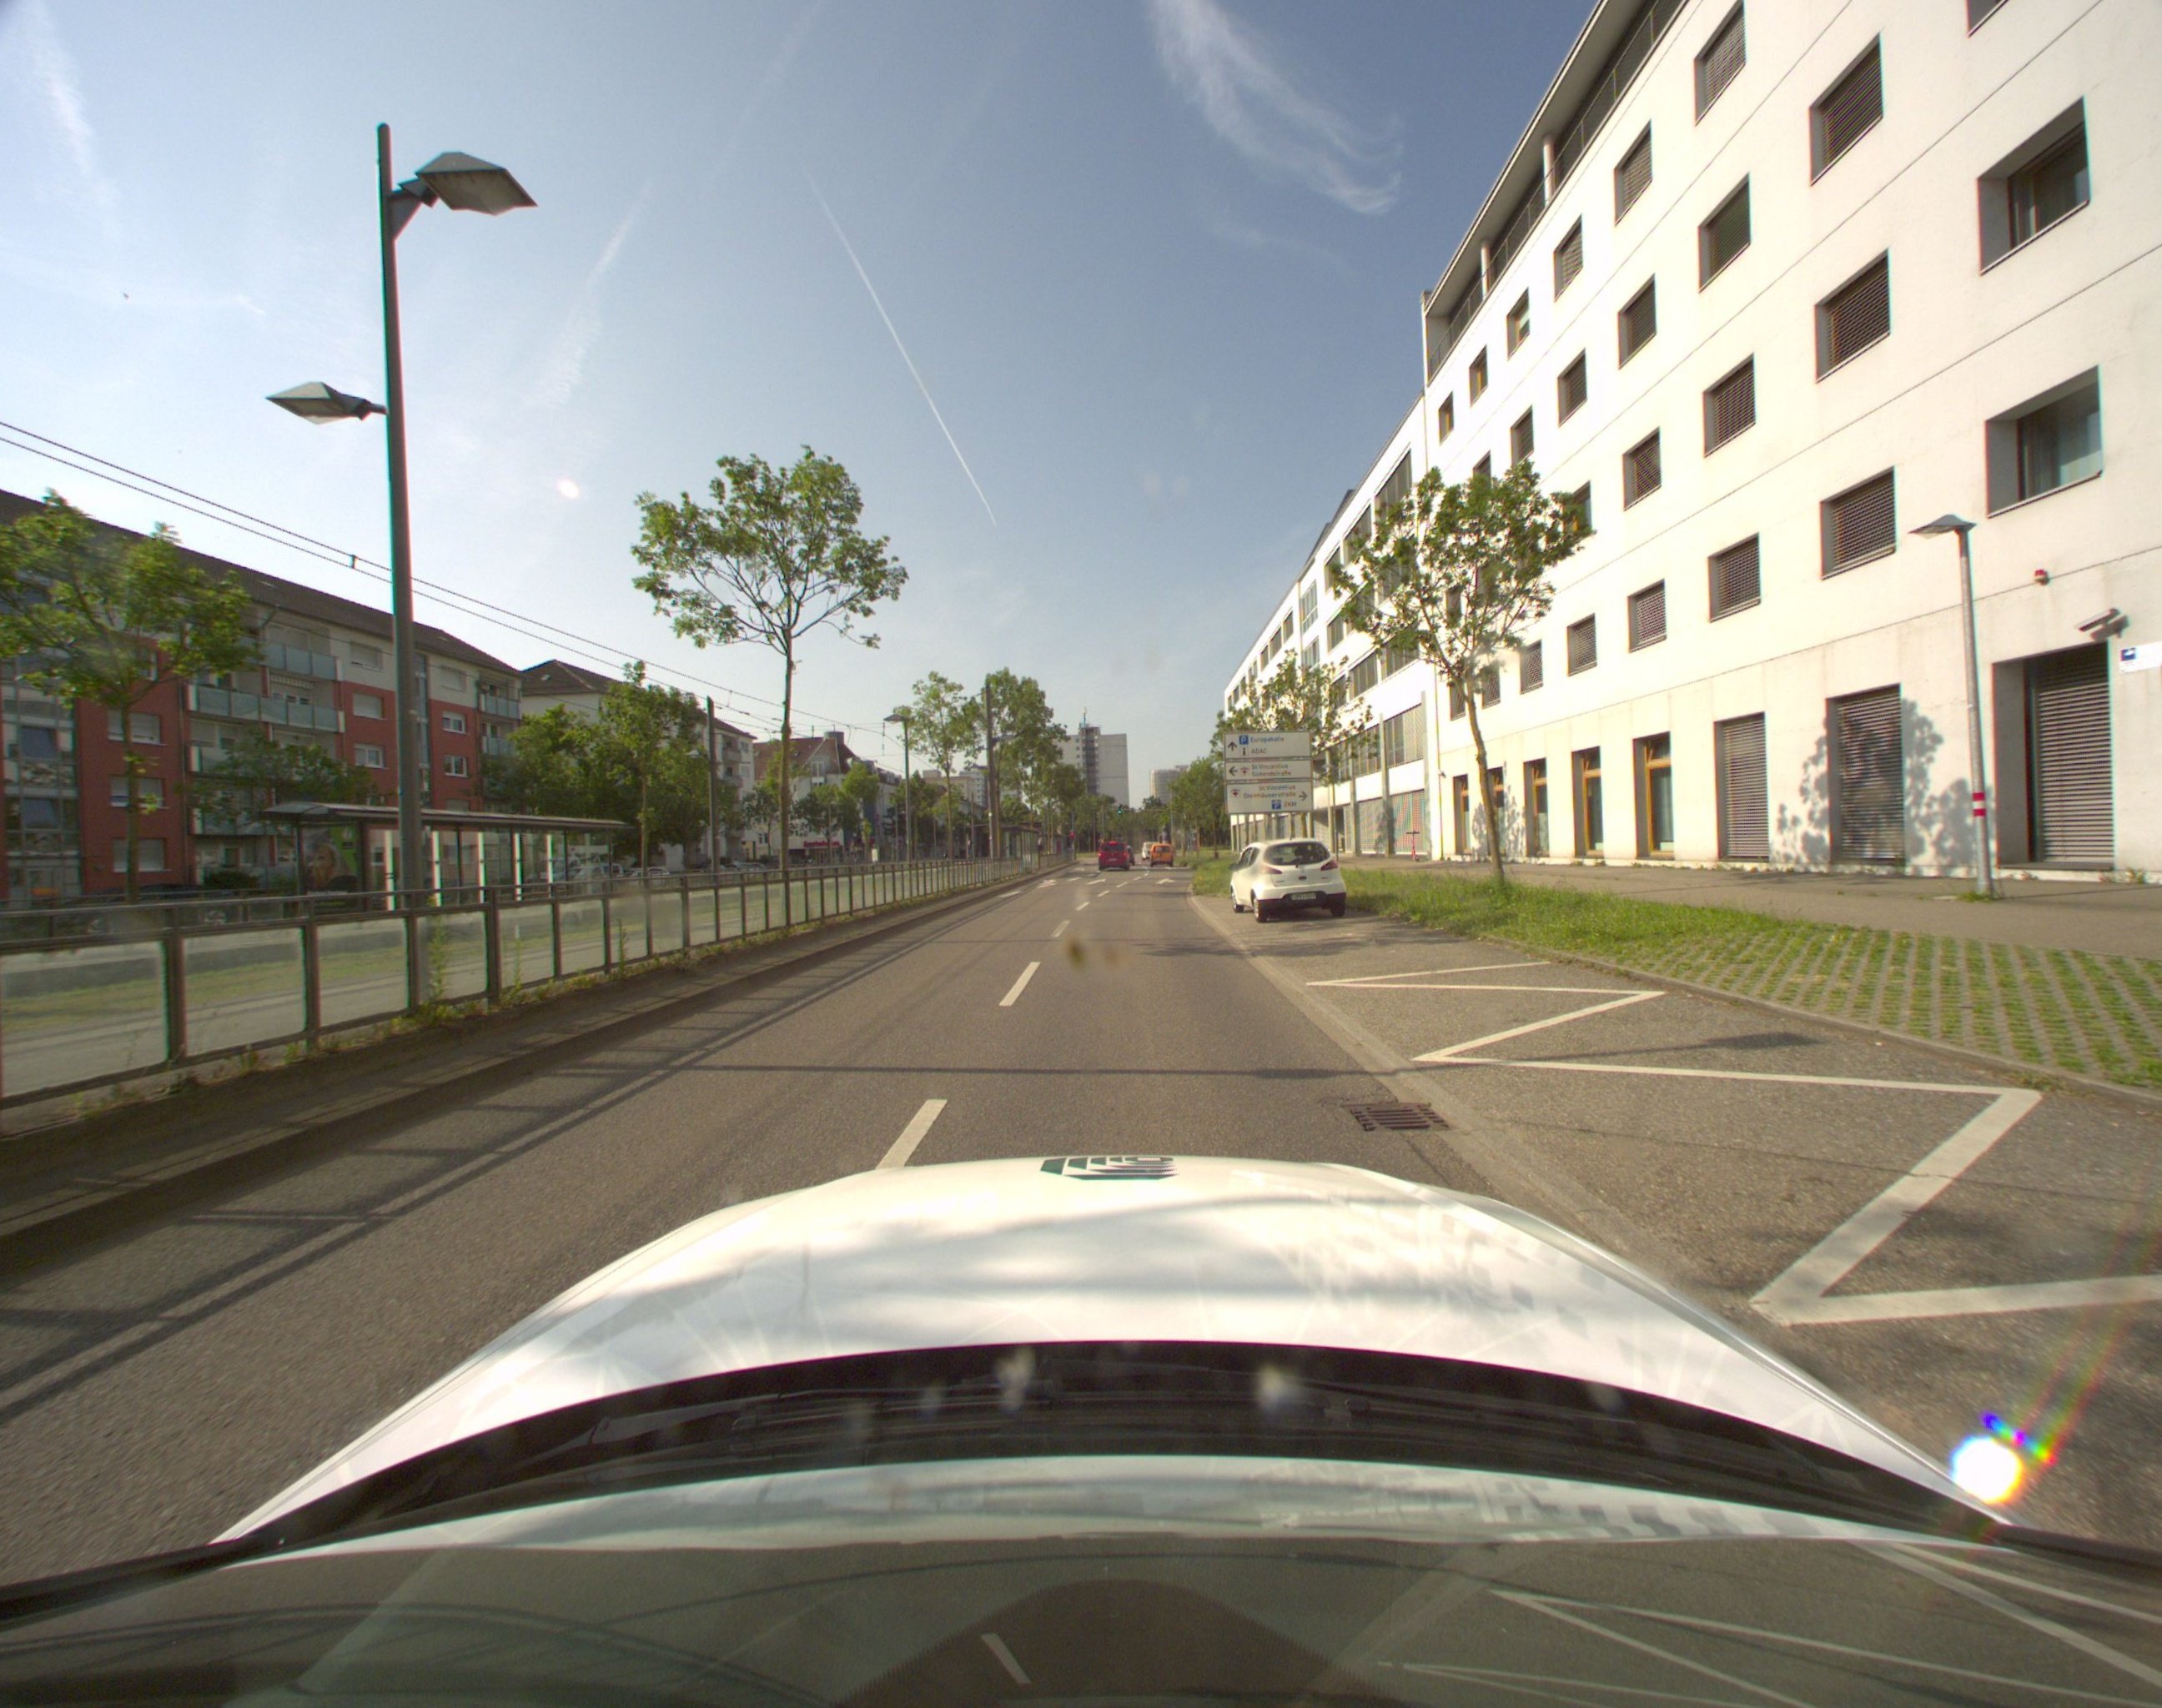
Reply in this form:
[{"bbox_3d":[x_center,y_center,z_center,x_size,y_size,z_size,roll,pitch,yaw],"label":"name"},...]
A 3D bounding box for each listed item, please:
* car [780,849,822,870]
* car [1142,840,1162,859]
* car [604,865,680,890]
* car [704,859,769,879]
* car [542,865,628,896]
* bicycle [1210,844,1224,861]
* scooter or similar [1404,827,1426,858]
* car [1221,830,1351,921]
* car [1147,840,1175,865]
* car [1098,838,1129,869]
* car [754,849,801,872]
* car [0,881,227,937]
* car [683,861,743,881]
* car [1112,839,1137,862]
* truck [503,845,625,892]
[{"bbox_3d":[-28.840,0.556,84.025,2.357,2.030,5.314,-1,0,2],"label":"car"},{"bbox_3d":[7.641,-0.473,88.215,1.985,2.013,4.003,-1,0,3],"label":"car"},{"bbox_3d":[-26.842,1.397,50.007,1.973,1.379,4.686,-1,0,2],"label":"car"},{"bbox_3d":[-24.764,1.071,58.557,3.955,1.244,1.948,-2,0,18],"label":"car"},{"bbox_3d":[-27.010,1.428,44.528,1.973,1.513,4.283,-1,0,2],"label":"car"},{"bbox_3d":[8.646,-0.116,51.874,0.615,1.017,1.881,-2,0,2],"label":"bicycle"},{"bbox_3d":[13.407,-0.475,32.739,0.460,1.213,1.258,-4,1,9],"label":"scooter or similar"},{"bbox_3d":[4.039,0.371,16.653,1.682,1.526,3.852,-4,0,2],"label":"car"},{"bbox_3d":[5.928,-0.139,60.847,1.868,1.696,3.977,-2,0,3],"label":"car"},{"bbox_3d":[2.093,-0.056,52.809,1.867,1.853,4.002,-2,0,1],"label":"car"},{"bbox_3d":[-28.974,0.589,77.971,2.357,2.030,5.314,-1,0,2],"label":"car"},{"bbox_3d":[-28.385,1.549,24.035,1.973,1.360,4.071,-1,0,2],"label":"car"},{"bbox_3d":[-24.991,1.164,55.258,3.948,1.244,1.844,-2,0,33],"label":"car"},{"bbox_3d":[3.656,-0.311,68.523,1.985,1.706,4.003,-3,0,3],"label":"car"},{"bbox_3d":[-30.405,0.779,48.335,2.357,2.563,7.245,-1,0,2],"label":"truck"}]
